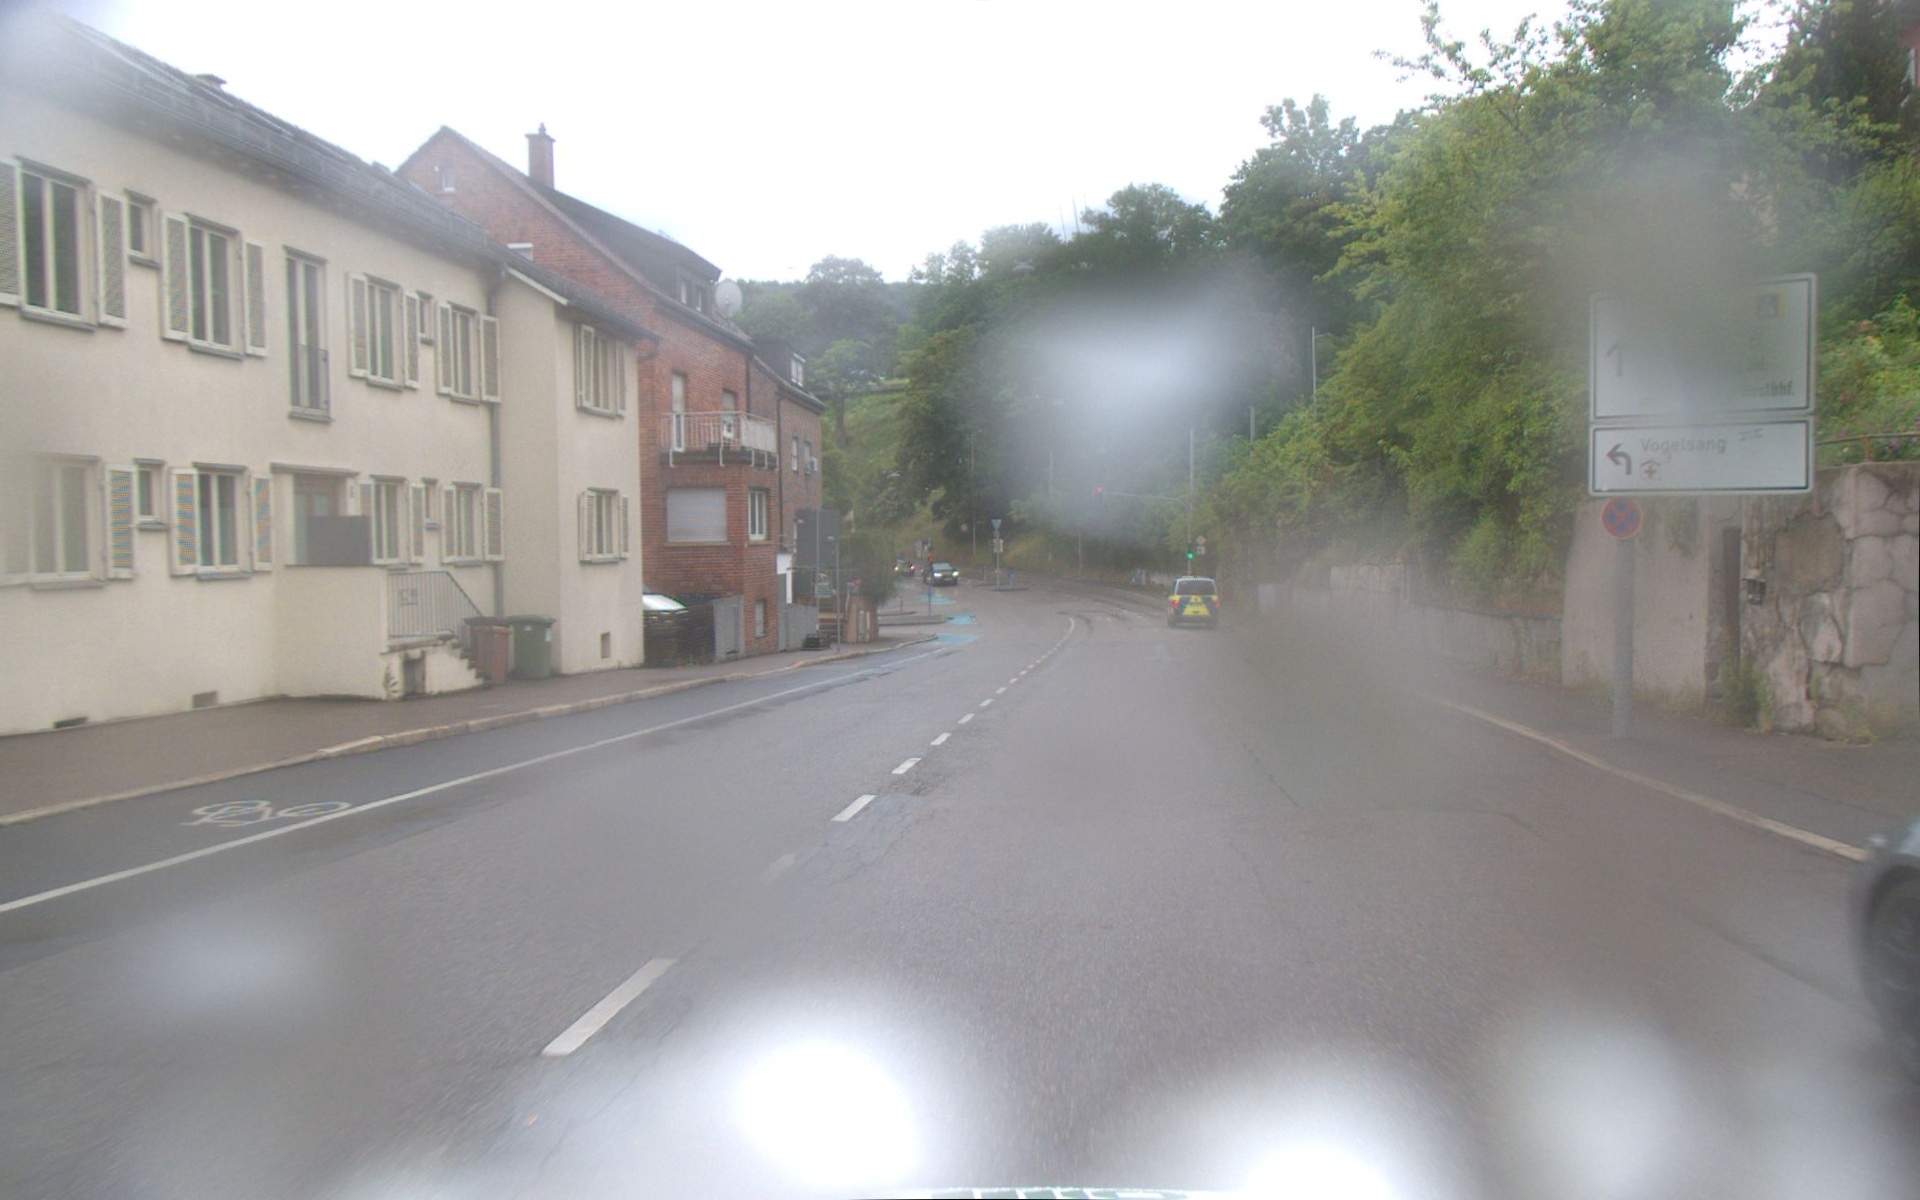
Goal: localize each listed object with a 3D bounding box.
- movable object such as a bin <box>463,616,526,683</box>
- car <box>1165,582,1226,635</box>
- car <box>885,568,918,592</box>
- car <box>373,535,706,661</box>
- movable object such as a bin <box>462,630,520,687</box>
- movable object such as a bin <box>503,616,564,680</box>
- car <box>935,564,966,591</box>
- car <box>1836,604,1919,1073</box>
[{"bbox_3d":[-7.645,0.808,27.193,0.765,1.065,0.709,1,-1,6],"label":"movable object such as a bin"},{"bbox_3d":[9.325,0.302,65.584,2.259,1.973,4.328,-2,0,8],"label":"car"},{"bbox_3d":[-4.351,-1.494,121.978,1.710,1.577,3.989,-4,2,-11],"label":"car"},{"bbox_3d":[-8.930,-0.026,35.435,6.513,2.598,2.169,0,-2,6],"label":"car"},{"bbox_3d":[-7.409,0.914,26.151,0.659,0.874,0.709,1,-1,6],"label":"movable object such as a bin"},{"bbox_3d":[-7.210,0.801,27.967,0.765,1.065,0.738,1,-1,6],"label":"movable object such as a bin"},{"bbox_3d":[-0.671,-1.572,114.724,1.708,1.576,3.996,-3,3,-6],"label":"car"},{"bbox_3d":[3.884,0.767,3.568,1.751,1.522,4.707,0,0,4],"label":"car"}]
